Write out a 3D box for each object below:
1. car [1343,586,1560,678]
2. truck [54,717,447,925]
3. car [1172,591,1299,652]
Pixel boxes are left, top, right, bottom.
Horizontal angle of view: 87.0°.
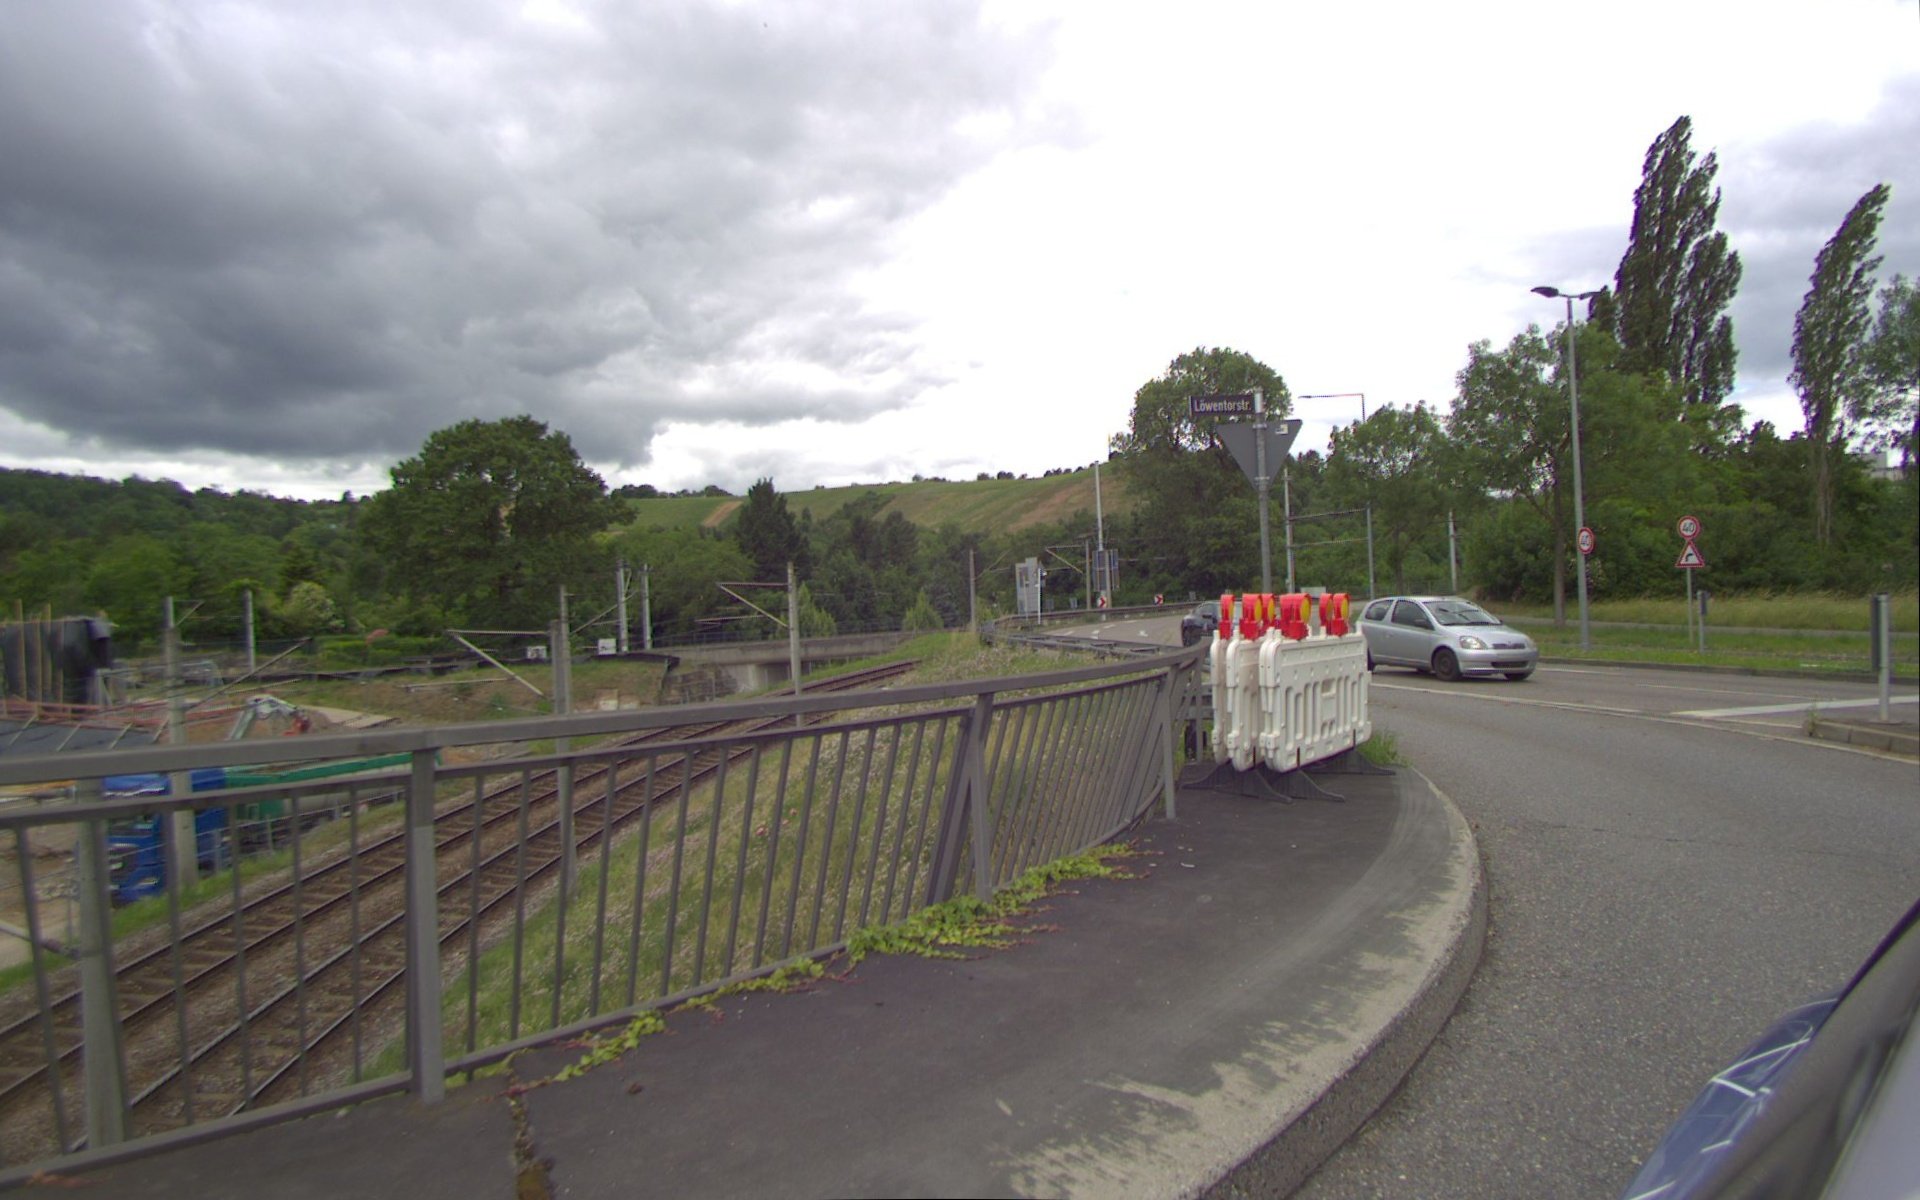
[{"bbox_3d":[8.929,0.525,18.731,1.639,1.488,3.635,-1,0,-14],"label":"car"},{"bbox_3d":[-20.785,6.225,31.164,2.798,3.943,11.593,-3,-1,7],"label":"truck"},{"bbox_3d":[7.338,0.501,27.497,1.842,1.495,4.967,0,0,-3],"label":"car"}]
